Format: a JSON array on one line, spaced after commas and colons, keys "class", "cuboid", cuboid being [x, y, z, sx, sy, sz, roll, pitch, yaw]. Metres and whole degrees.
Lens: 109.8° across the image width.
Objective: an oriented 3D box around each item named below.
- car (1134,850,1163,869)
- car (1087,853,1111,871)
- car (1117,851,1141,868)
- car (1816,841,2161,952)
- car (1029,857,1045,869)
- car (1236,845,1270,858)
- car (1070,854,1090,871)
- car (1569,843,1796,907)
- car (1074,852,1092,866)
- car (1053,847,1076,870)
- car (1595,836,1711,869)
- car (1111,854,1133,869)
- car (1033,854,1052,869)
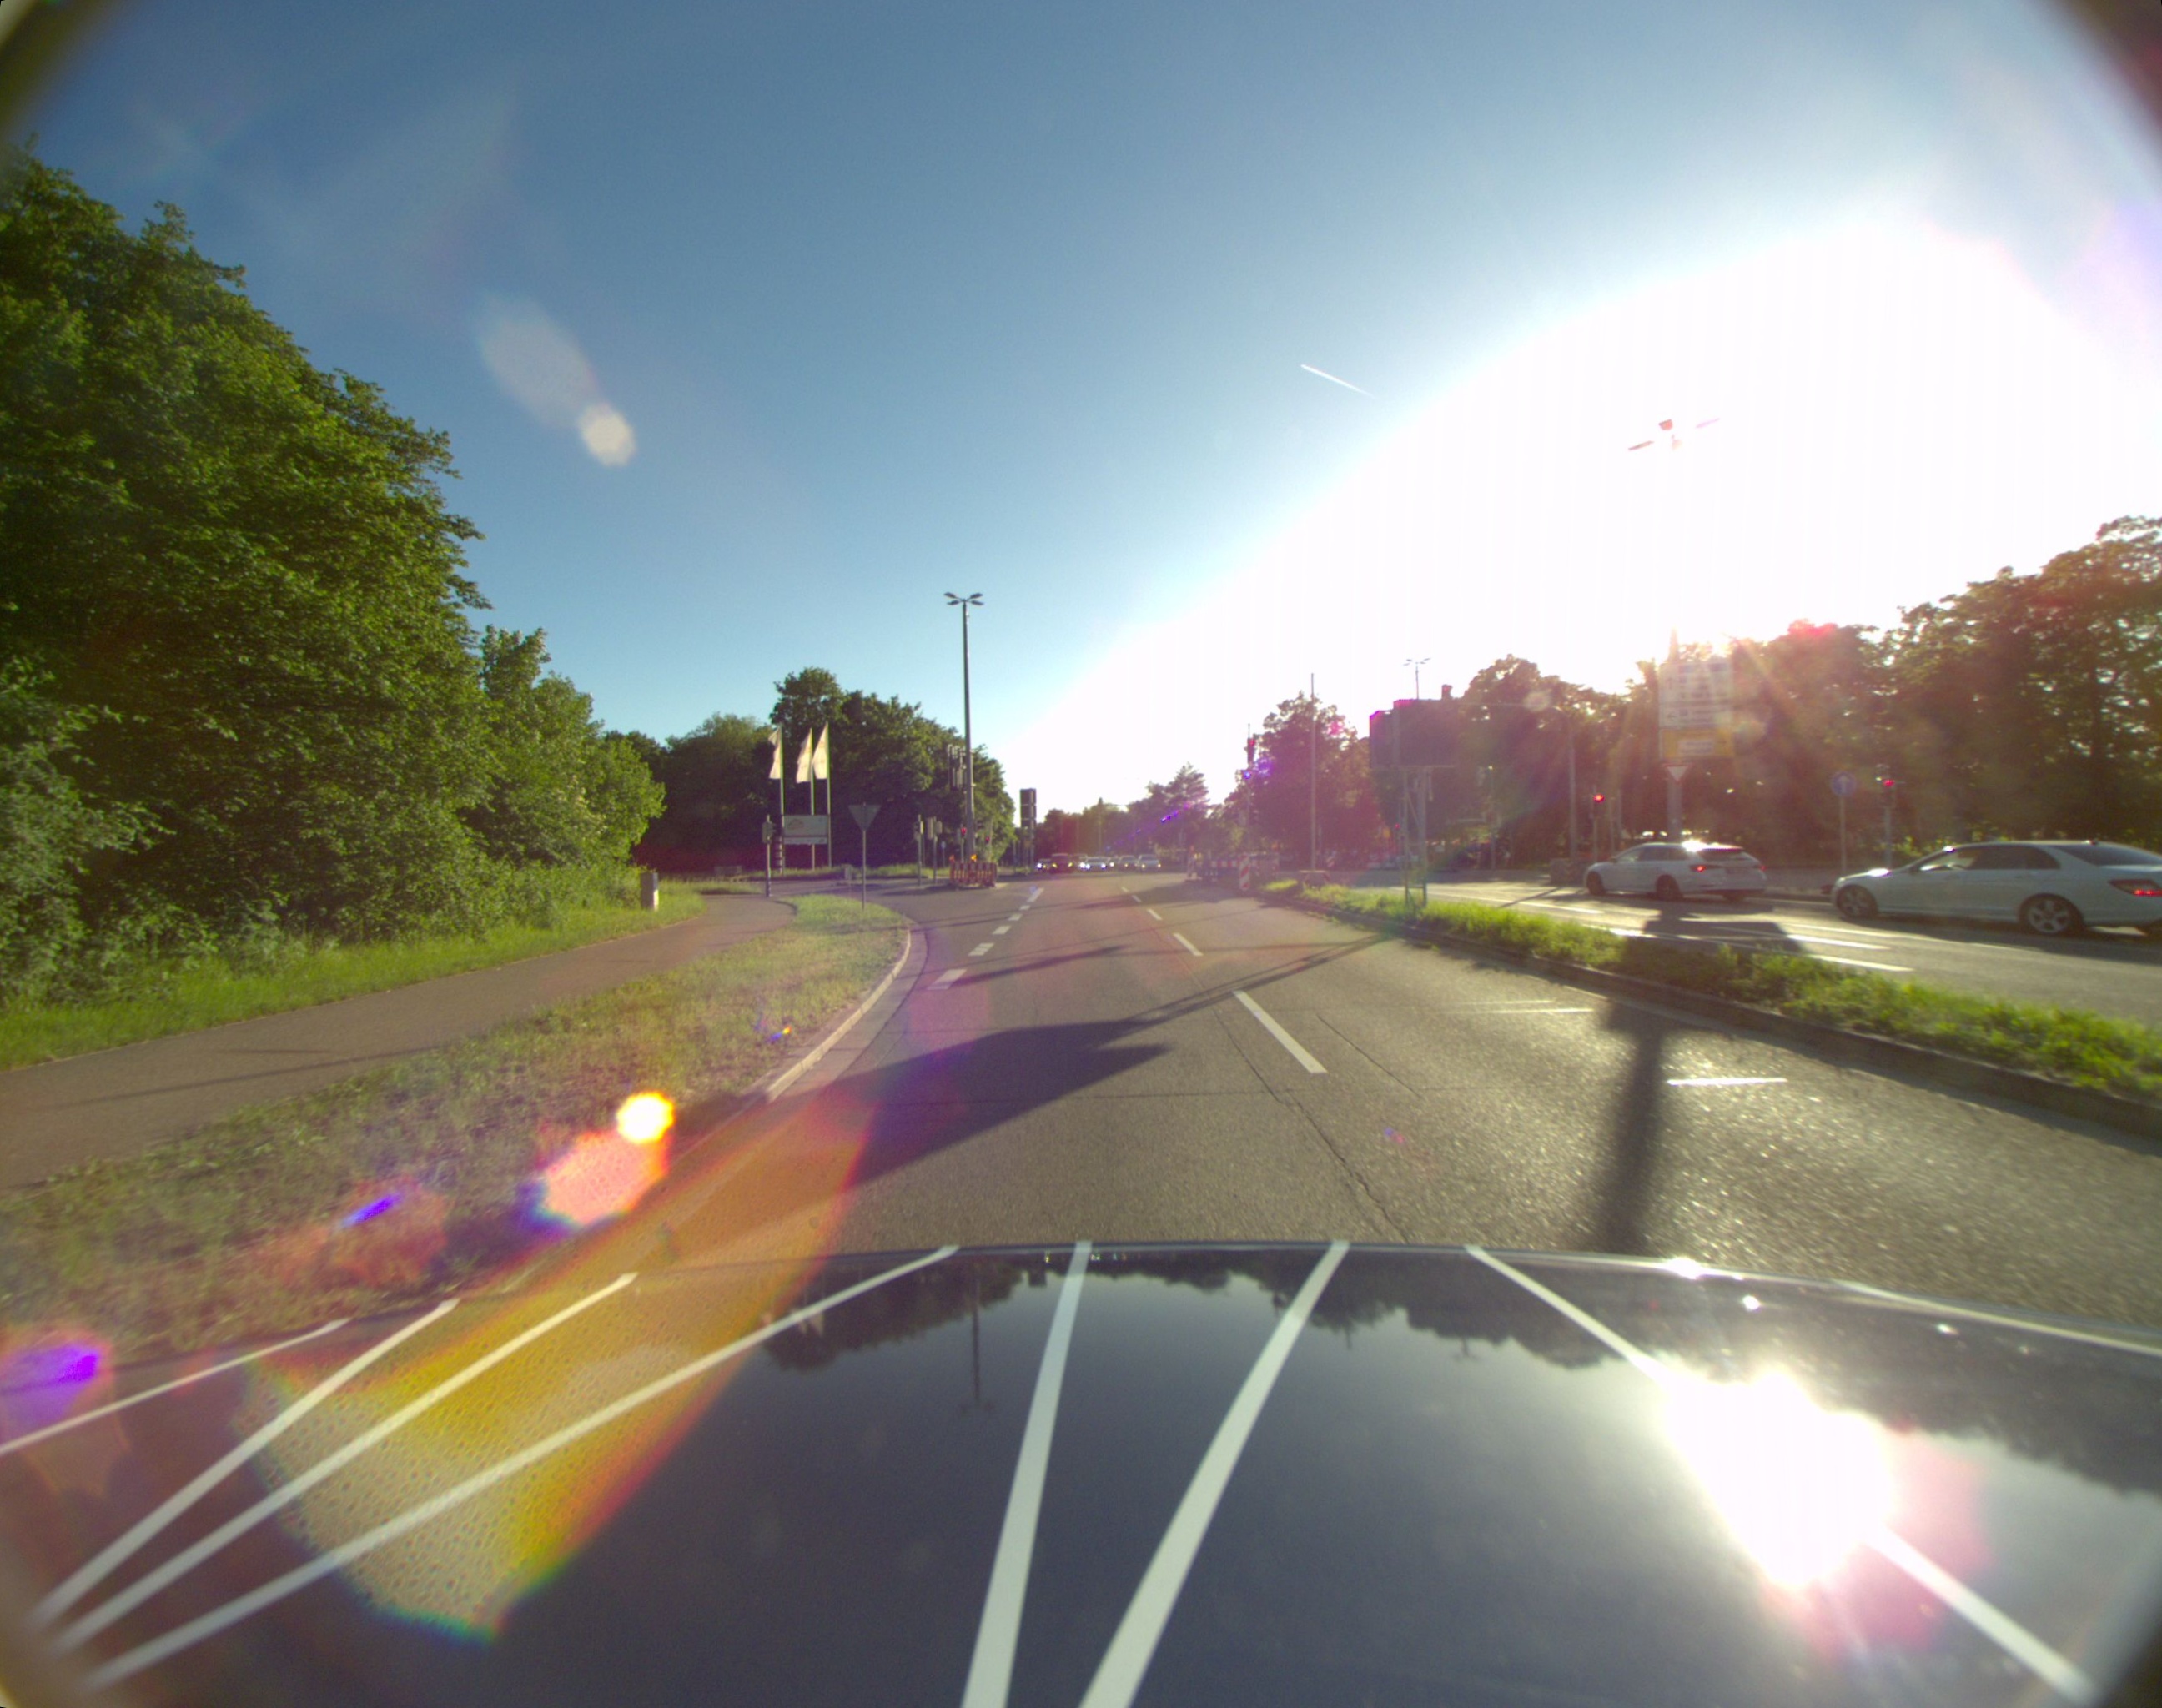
[{"class": "car", "cuboid": [5.512, 0.422, 62.462, 1.999, 1.510, 3.999, -1, 0, -1]}, {"class": "car", "cuboid": [1.684, 0.756, 72.278, 1.999, 1.510, 3.999, -2, 1, -1]}, {"class": "car", "cuboid": [4.706, 0.514, 75.045, 1.999, 1.510, 3.999, -2, 1, -1]}, {"class": "car", "cuboid": [15.021, 0.536, 12.204, 1.998, 1.442, 4.648, 0, 1, 1]}, {"class": "car", "cuboid": [-6.082, 1.203, 105.502, 1.999, 1.510, 3.999, -2, 1, -1]}, {"class": "car", "cuboid": [23.054, -0.380, 102.028, 4.001, 1.510, 1.997, -2, 1, -13]}, {"class": "car", "cuboid": [-0.159, 0.883, 80.548, 1.999, 1.510, 3.999, -2, 1, -1]}, {"class": "car", "cuboid": [15.278, 0.455, 19.757, 1.999, 1.442, 4.841, 0, 1, -1]}, {"class": "car", "cuboid": [0.247, 0.548, 90.368, 1.999, 1.510, 3.999, -2, 1, -1]}, {"class": "car", "cuboid": [-1.483, 0.388, 70.781, 1.999, 2.057, 3.999, -2, 1, -1]}, {"class": "car", "cuboid": [31.537, -0.098, 42.047, 4.733, 1.677, 2.002, -1, 0, 15]}, {"class": "car", "cuboid": [4.442, 0.814, 82.698, 1.999, 1.510, 3.999, -2, 1, -1]}, {"class": "car", "cuboid": [-4.417, 0.871, 87.113, 1.999, 1.510, 3.999, -2, 1, -1]}]
